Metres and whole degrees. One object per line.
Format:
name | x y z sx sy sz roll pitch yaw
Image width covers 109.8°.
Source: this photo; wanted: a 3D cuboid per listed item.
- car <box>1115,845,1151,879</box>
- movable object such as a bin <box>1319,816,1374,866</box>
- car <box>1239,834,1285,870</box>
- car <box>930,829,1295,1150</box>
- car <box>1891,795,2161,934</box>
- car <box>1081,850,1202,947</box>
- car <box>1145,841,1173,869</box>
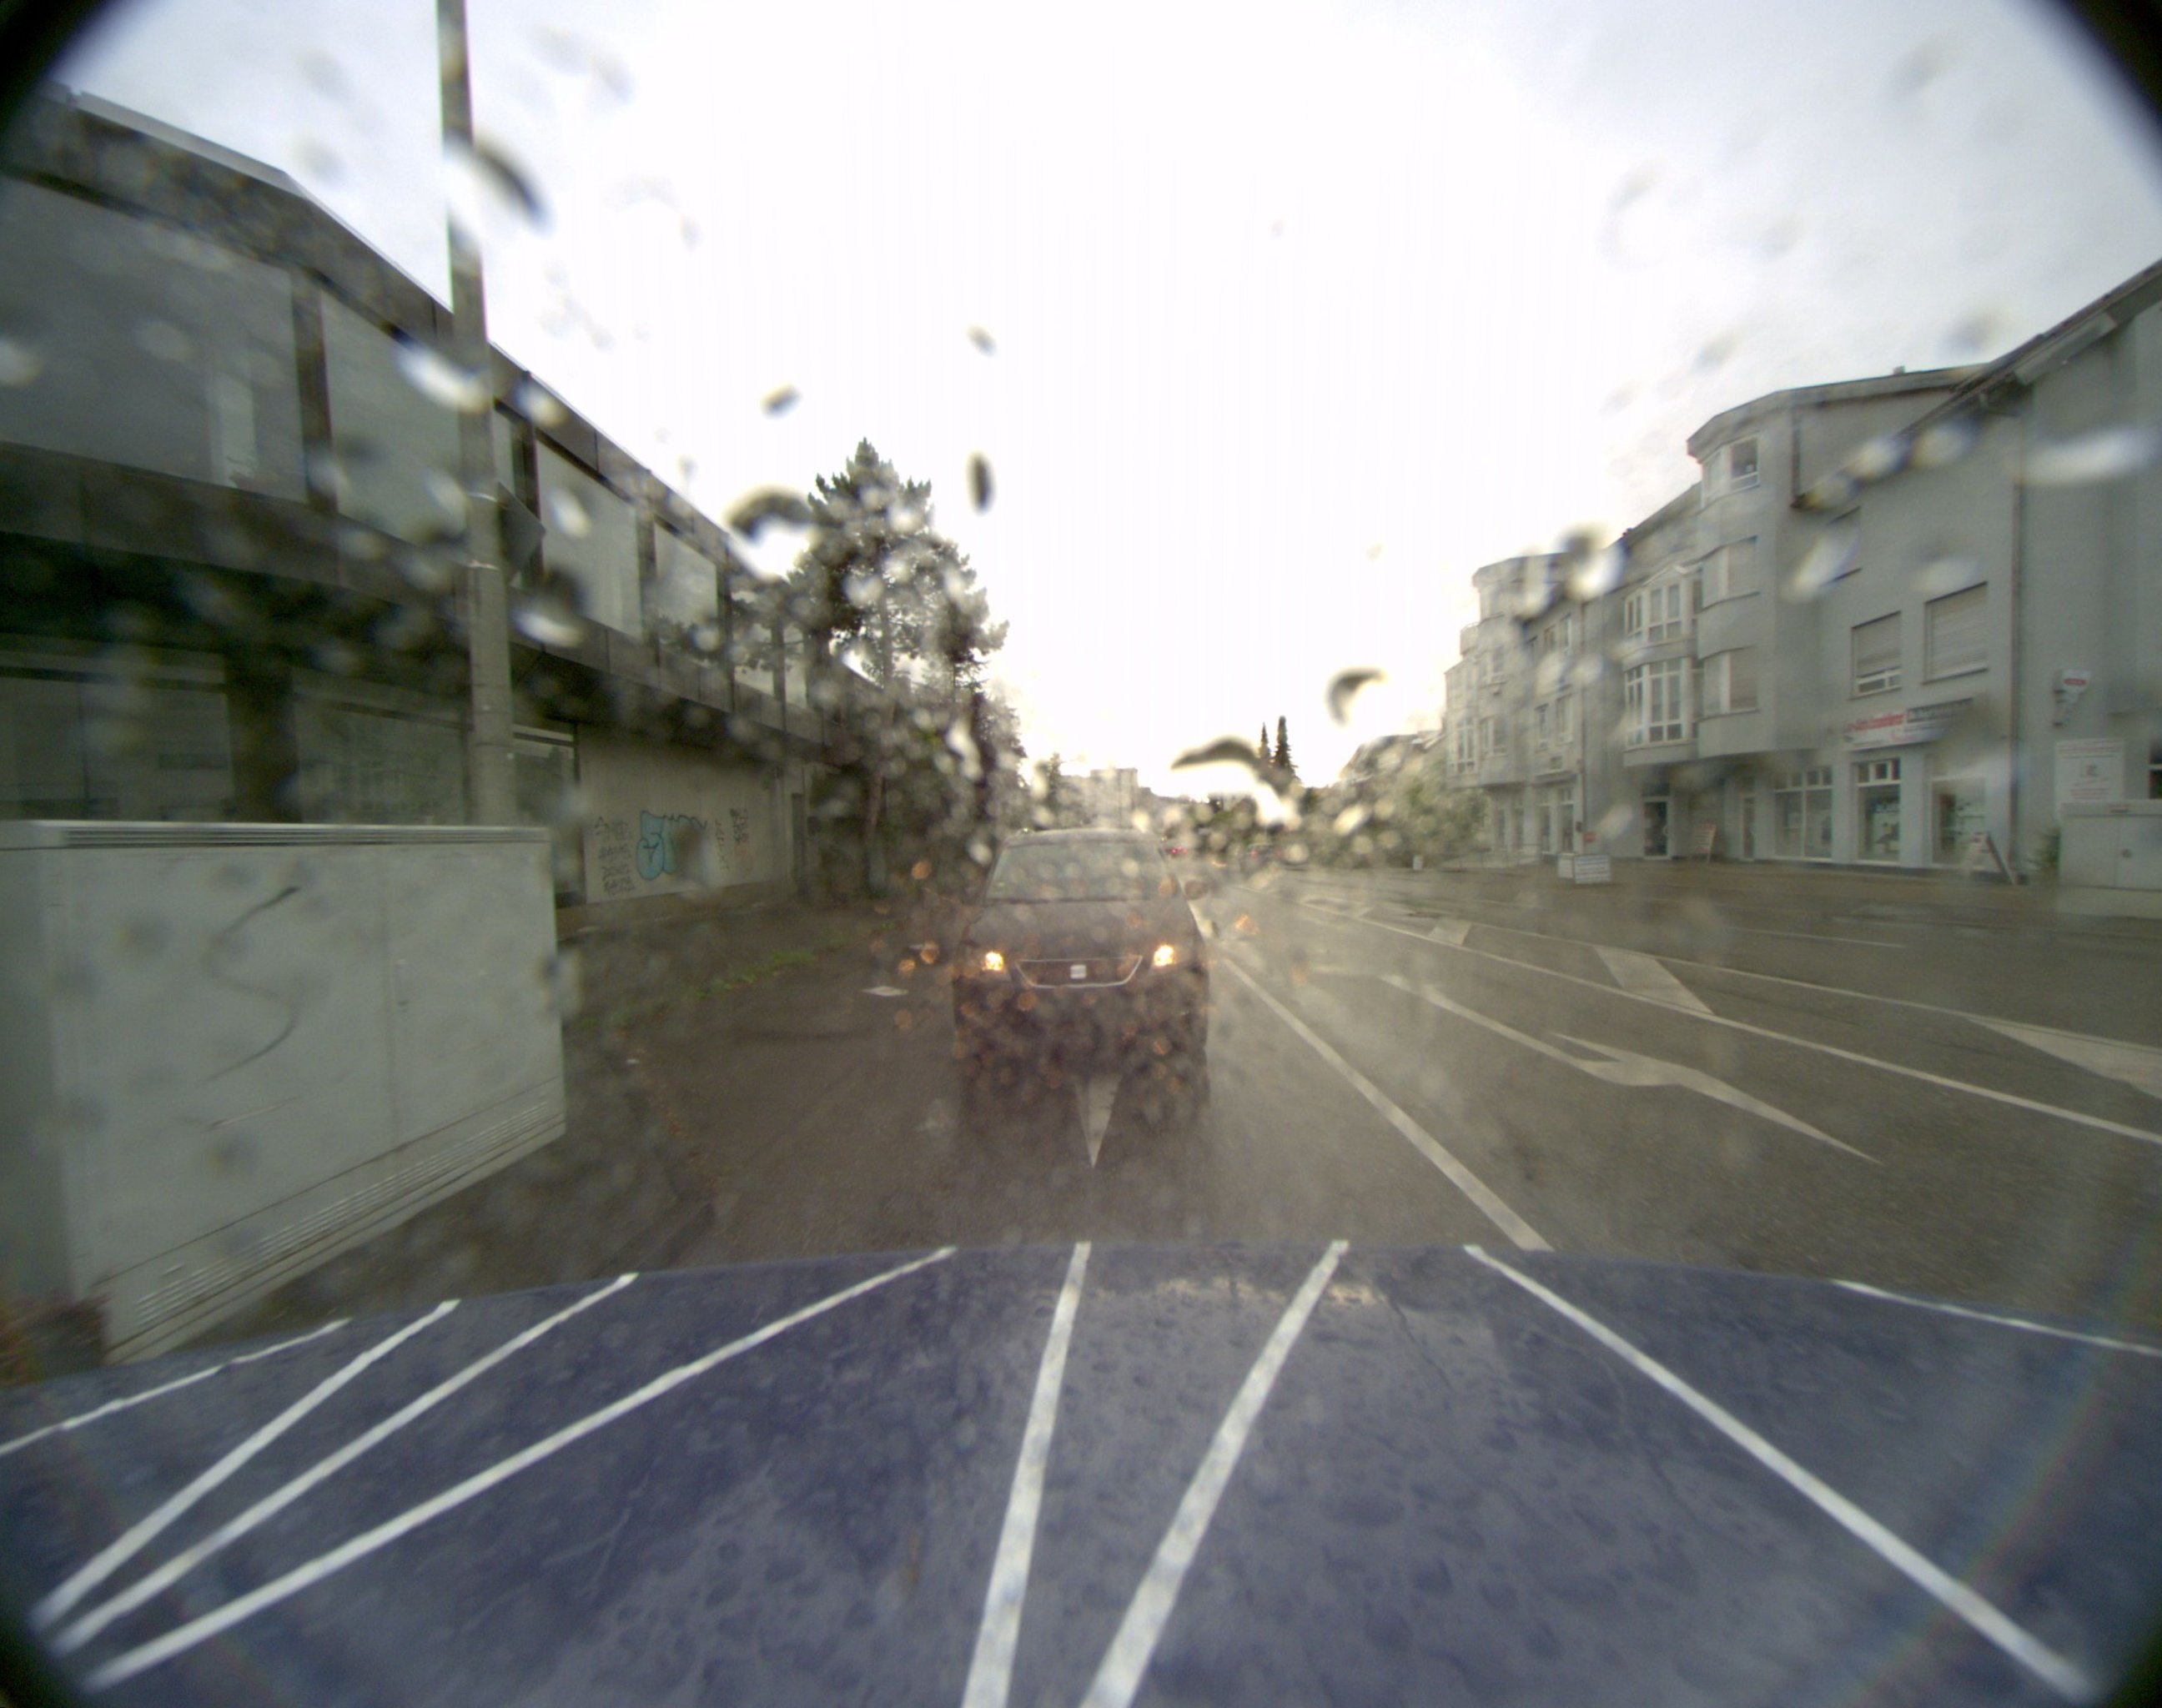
car | 3.039 0.437 44.445 1.998 1.849 4.001 0 1 4
movable object such as a bin | 15.718 -0.761 45.091 2.922 2.825 2.199 -2 1 17
car | 10.843 -0.114 45.671 1.998 2.002 4.001 -2 0 4
car | 0.185 0.748 6.665 1.998 1.739 4.647 -3 1 0
car | 15.056 0.035 10.464 5.476 1.674 2.147 -2 1 0
car | 0.974 0.701 14.340 1.829 1.431 4.344 -3 1 -1
car | 5.944 0.042 58.123 1.998 2.002 4.001 -2 0 5
